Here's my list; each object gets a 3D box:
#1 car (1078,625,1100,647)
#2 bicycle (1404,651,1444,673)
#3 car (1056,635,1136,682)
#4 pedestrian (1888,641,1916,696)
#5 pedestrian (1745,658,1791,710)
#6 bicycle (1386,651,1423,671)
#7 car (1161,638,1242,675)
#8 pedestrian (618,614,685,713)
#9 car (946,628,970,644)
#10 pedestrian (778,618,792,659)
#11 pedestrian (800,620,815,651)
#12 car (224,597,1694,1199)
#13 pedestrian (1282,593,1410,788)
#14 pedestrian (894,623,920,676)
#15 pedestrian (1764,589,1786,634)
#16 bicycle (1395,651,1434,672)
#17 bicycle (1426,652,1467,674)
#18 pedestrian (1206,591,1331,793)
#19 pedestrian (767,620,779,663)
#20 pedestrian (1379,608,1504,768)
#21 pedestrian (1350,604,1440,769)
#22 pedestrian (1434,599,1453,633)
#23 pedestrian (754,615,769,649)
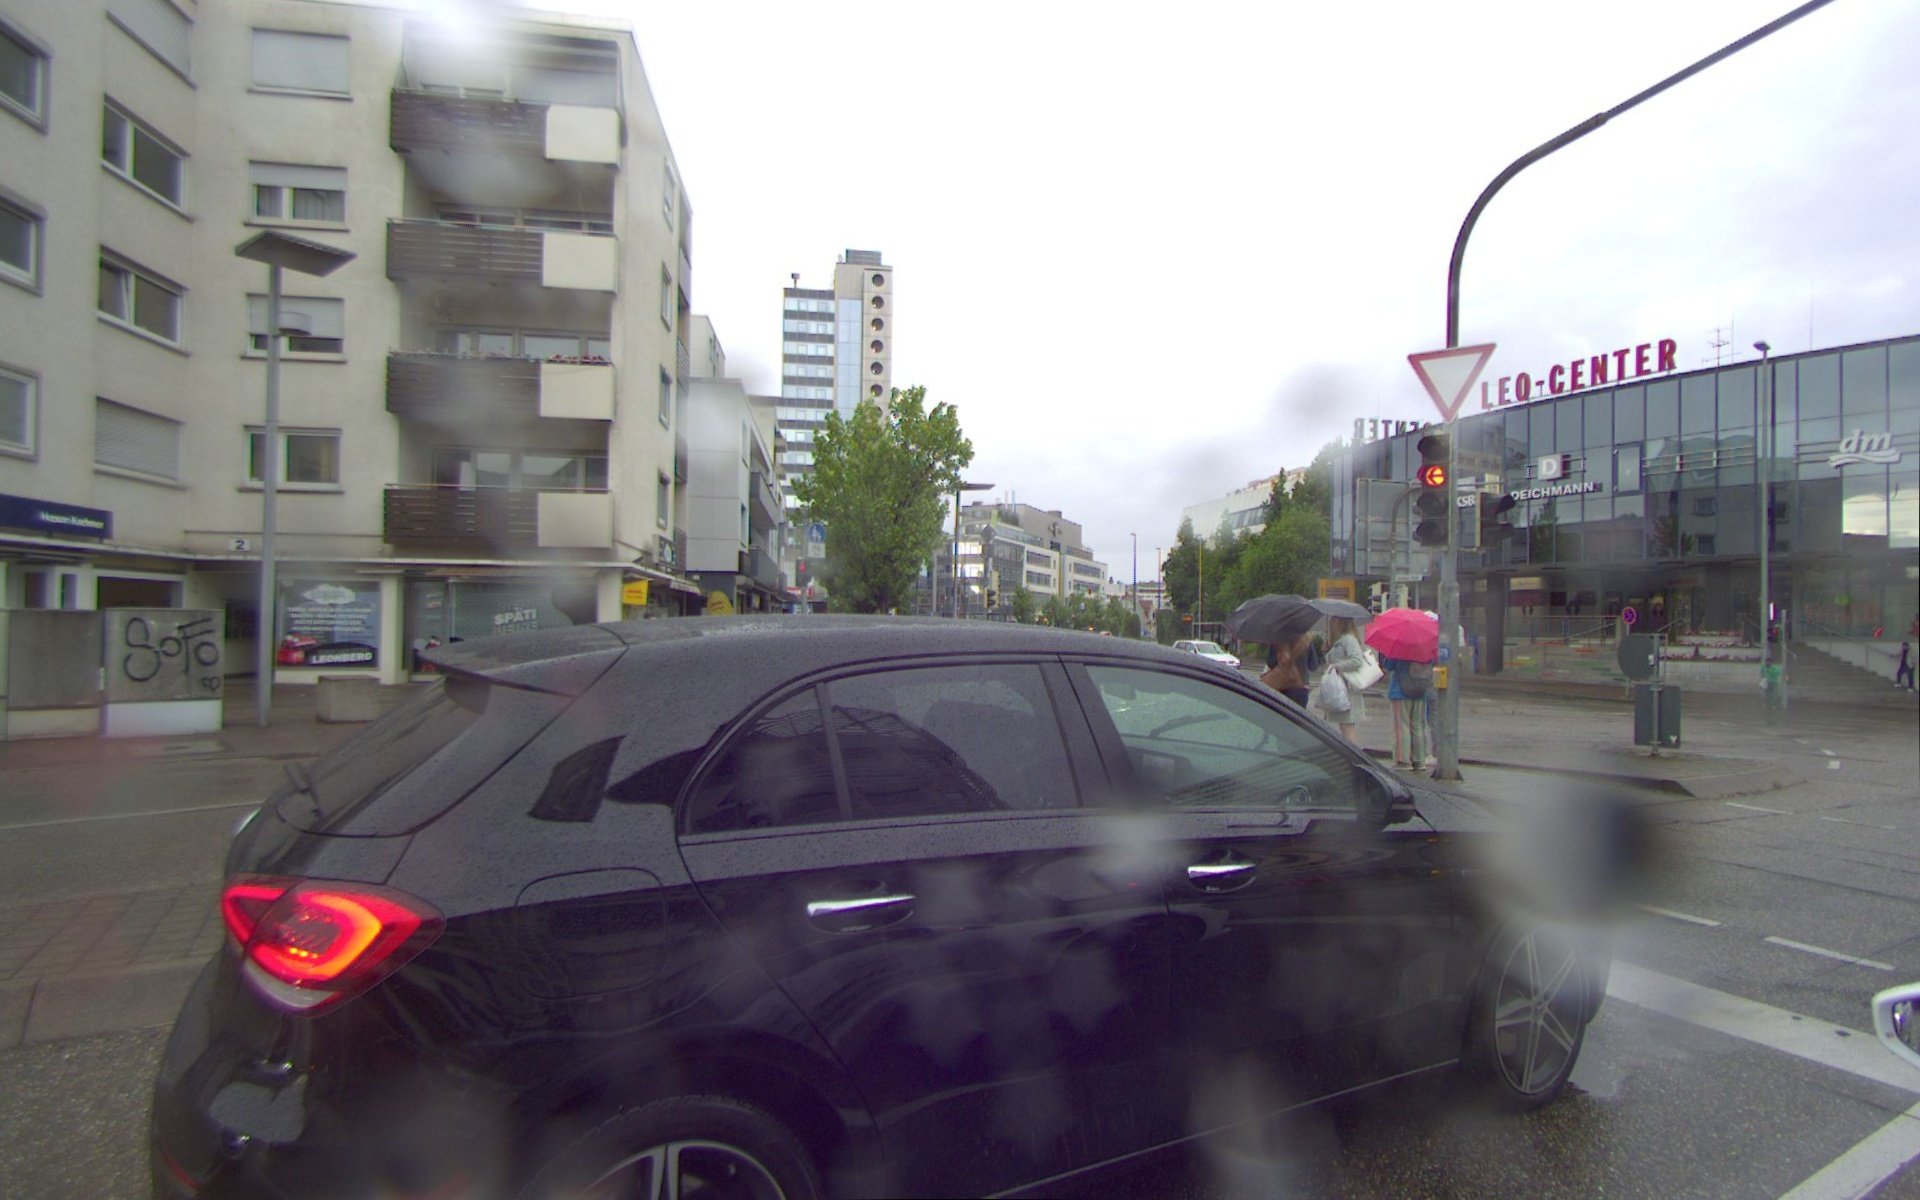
[{"bbox_3d":[12.341,3.443,96.213,2.008,1.921,4.141,1,-1,6],"label":"car"},{"bbox_3d":[24.085,3.211,52.142,1.822,1.056,0.646,-1,-1,-12],"label":"bicycle"},{"bbox_3d":[4.736,2.026,35.683,2.082,1.432,5.147,2,-2,0],"label":"car"},{"bbox_3d":[34.386,2.490,36.674,0.589,1.933,0.651,2,-1,-37],"label":"pedestrian"},{"bbox_3d":[26.684,2.756,33.170,0.799,1.644,0.945,2,-2,-28],"label":"pedestrian"},{"bbox_3d":[23.702,3.242,53.550,1.821,0.964,0.535,-1,0,-8],"label":"bicycle"},{"bbox_3d":[10.496,2.424,43.949,1.717,1.460,3.980,2,-1,-15],"label":"car"},{"bbox_3d":[-5.190,1.052,16.891,0.904,1.606,0.651,2,-2,-33],"label":"pedestrian"},{"bbox_3d":[-0.211,3.129,87.290,1.414,1.314,3.770,2,-1,-11],"label":"car"},{"bbox_3d":[-7.786,1.704,44.748,0.557,1.817,0.491,1,-2,-6],"label":"pedestrian"},{"bbox_3d":[-9.324,2.148,61.278,0.859,1.835,0.923,1,-1,-10],"label":"pedestrian"},{"bbox_3d":[0.350,0.782,3.068,4.048,1.501,1.654,1,1,-32],"label":"car"},{"bbox_3d":[3.742,0.850,9.827,0.843,1.767,1.139,1,-2,3],"label":"pedestrian"},{"bbox_3d":[-1.681,1.580,32.091,0.799,1.677,0.714,1,-2,-3],"label":"pedestrian"},{"bbox_3d":[33.547,0.461,41.323,0.625,1.831,0.501,2,0,43],"label":"pedestrian"},{"bbox_3d":[23.932,3.215,52.884,1.822,1.047,0.628,-1,-1,-12],"label":"bicycle"},{"bbox_3d":[24.484,3.174,50.518,1.822,1.036,0.631,0,-2,-12],"label":"bicycle"},{"bbox_3d":[2.892,0.823,9.386,0.937,1.759,0.835,0,-2,30],"label":"pedestrian"},{"bbox_3d":[-7.631,1.678,40.940,0.441,1.746,0.499,1,-2,-12],"label":"pedestrian"},{"bbox_3d":[5.435,0.961,11.356,0.906,1.699,0.931,2,-2,-30],"label":"pedestrian"},{"bbox_3d":[4.710,0.919,10.917,0.790,1.707,0.674,1,-2,14],"label":"pedestrian"},{"bbox_3d":[25.722,0.851,53.417,0.642,1.736,0.599,2,0,-6],"label":"pedestrian"},{"bbox_3d":[-12.011,1.953,60.815,0.859,2.040,0.923,1,-1,-10],"label":"pedestrian"}]
